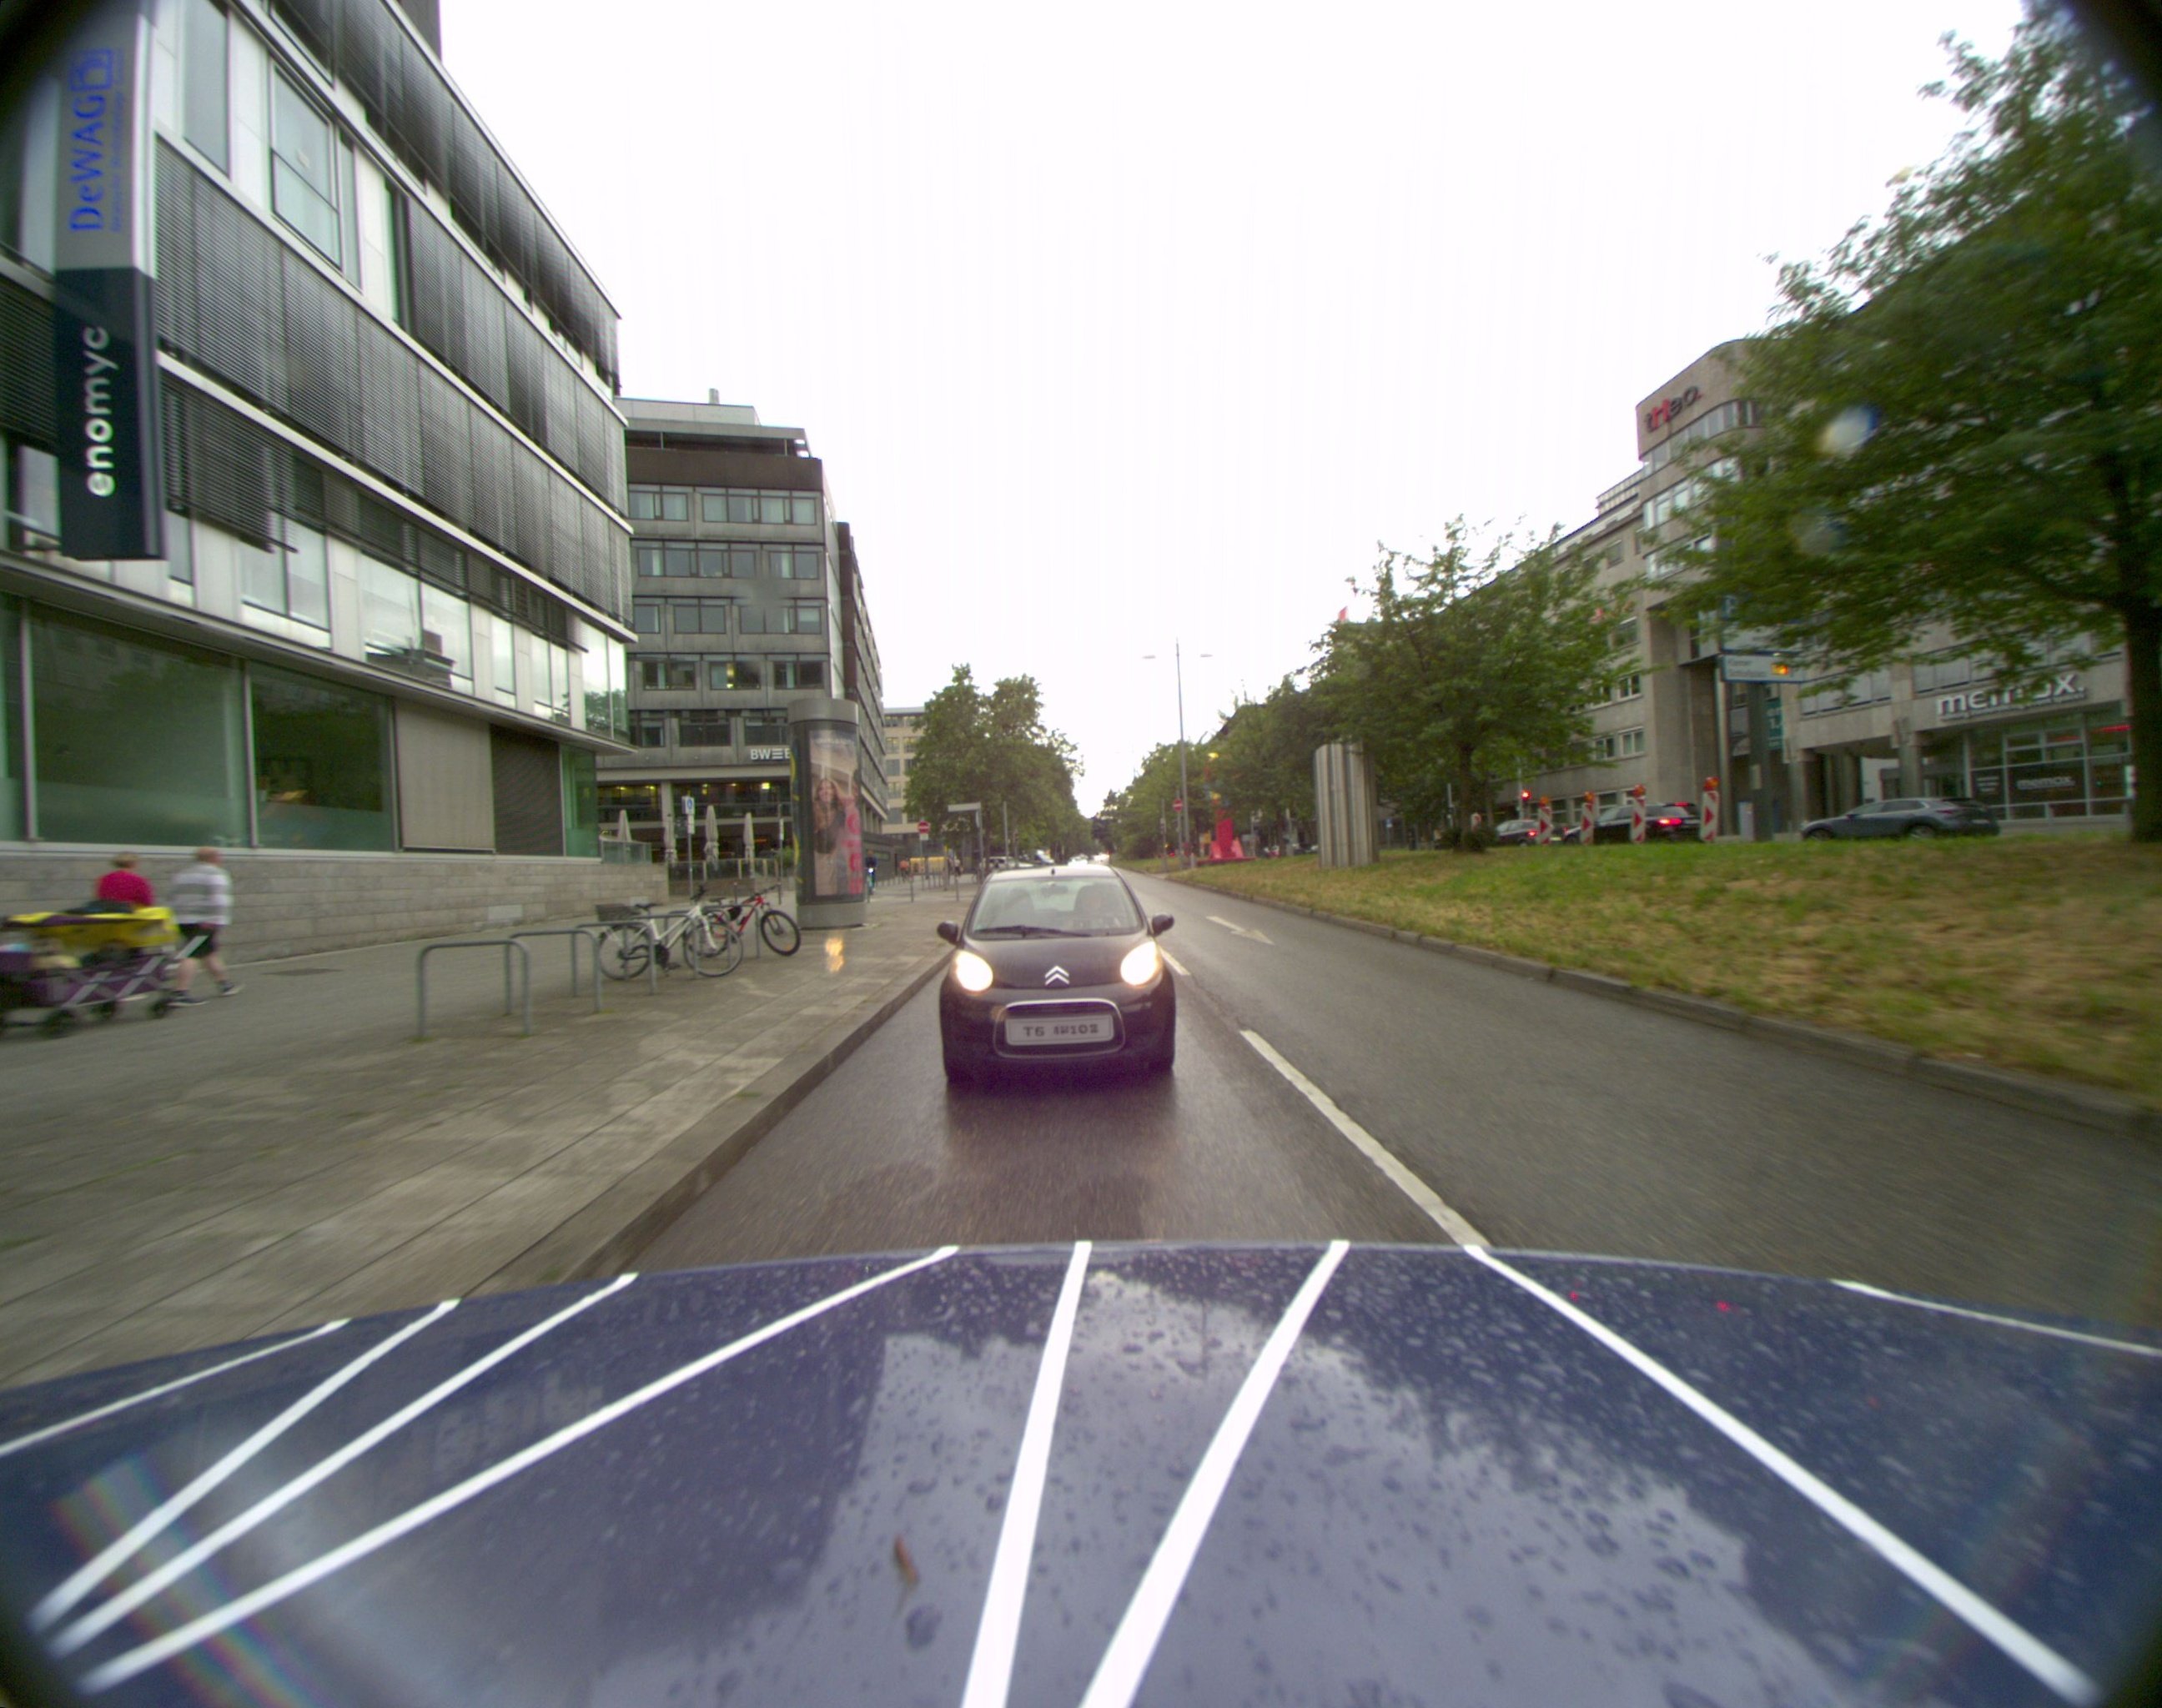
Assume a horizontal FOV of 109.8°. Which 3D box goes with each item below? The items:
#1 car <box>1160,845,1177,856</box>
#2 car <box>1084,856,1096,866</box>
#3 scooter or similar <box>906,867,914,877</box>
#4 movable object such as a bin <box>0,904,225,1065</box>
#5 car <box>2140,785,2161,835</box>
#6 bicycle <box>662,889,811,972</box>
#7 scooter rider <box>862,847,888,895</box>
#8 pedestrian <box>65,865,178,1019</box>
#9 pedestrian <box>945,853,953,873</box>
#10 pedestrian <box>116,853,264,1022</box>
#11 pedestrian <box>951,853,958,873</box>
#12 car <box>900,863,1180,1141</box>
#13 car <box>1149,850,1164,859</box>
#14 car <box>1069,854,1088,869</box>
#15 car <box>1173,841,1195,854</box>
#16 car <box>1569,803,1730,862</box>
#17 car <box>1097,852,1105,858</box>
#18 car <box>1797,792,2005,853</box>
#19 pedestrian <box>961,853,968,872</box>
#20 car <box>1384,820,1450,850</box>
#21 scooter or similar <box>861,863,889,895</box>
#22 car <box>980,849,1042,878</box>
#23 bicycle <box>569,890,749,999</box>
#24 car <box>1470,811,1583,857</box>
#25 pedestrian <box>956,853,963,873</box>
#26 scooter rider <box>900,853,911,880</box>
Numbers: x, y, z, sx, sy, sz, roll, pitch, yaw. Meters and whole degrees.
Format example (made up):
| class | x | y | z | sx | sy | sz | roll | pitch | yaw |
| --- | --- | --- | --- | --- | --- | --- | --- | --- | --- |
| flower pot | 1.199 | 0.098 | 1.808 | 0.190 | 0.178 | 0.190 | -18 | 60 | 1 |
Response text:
| class | x | y | z | sx | sy | sz | roll | pitch | yaw |
| --- | --- | --- | --- | --- | --- | --- | --- | --- | --- |
| car | 14.112 | -0.613 | 122.919 | 2.073 | 1.578 | 4.106 | -5 | 1 | -3 |
| car | 1.414 | 1.109 | 118.070 | 1.606 | 1.377 | 3.018 | -5 | 1 | -3 |
| scooter or similar | -13.233 | 1.386 | 58.961 | 0.408 | 0.768 | 1.276 | -2 | 1 | -5 |
| movable object such as a bin | -9.770 | 1.196 | 7.434 | 0.805 | 1.258 | 1.787 | -1 | 1 | -5 |
| car | 25.355 | -1.050 | 15.499 | 1.575 | 1.116 | 4.104 | -5 | 1 | -7 |
| bicycle | -5.100 | 1.120 | 11.328 | 1.876 | 1.103 | 0.669 | -2 | 1 | -2 |
| scooter rider | -8.938 | 0.721 | 32.971 | 0.780 | 2.009 | 0.924 | -2 | 1 | 1 |
| pedestrian | -11.009 | 0.982 | 8.735 | 0.485 | 1.689 | 0.579 | -1 | 1 | -5 |
| pedestrian | -11.495 | 0.790 | 66.269 | 0.552 | 1.692 | 0.547 | -2 | 2 | -2 |
| pedestrian | -10.127 | 0.913 | 8.672 | 0.724 | 1.820 | 0.746 | -1 | 1 | -5 |
| pedestrian | -11.024 | 0.770 | 66.318 | 0.452 | 1.692 | 0.547 | -2 | 2 | -2 |
| car | -0.283 | 0.907 | 6.396 | 1.595 | 1.501 | 3.708 | -3 | 1 | -1 |
| car | 13.901 | 0.078 | 140.563 | 2.073 | 1.578 | 4.106 | -5 | 1 | -3 |
| car | -0.328 | 0.834 | 91.517 | 2.073 | 1.578 | 4.106 | -5 | 1 | -3 |
| car | 13.824 | -0.911 | 102.183 | 2.073 | 1.578 | 4.106 | -5 | 1 | -3 |
| car | 17.970 | -0.657 | 24.297 | 1.880 | 1.571 | 4.106 | -5 | 1 | -3 |
| car | 5.184 | 0.216 | 196.306 | 1.799 | 1.501 | 4.498 | -3 | 1 | -2 |
| car | 24.715 | -0.872 | 23.136 | 1.575 | 1.571 | 4.104 | -5 | 1 | -7 |
| pedestrian | -10.164 | 0.734 | 66.468 | 0.452 | 1.692 | 0.497 | -2 | 2 | -2 |
| car | 19.915 | -1.097 | 45.199 | 1.880 | 1.571 | 4.106 | -5 | 1 | -3 |
| scooter or similar | -8.927 | 1.077 | 33.003 | 0.780 | 1.298 | 1.335 | -2 | 1 | 1 |
| car | -5.264 | 0.712 | 57.024 | 4.202 | 1.802 | 2.003 | -4 | 1 | 32 |
| bicycle | -5.195 | 1.088 | 9.459 | 1.797 | 1.200 | 0.669 | -2 | 1 | -9 |
| car | 17.583 | -0.760 | 30.228 | 1.880 | 1.571 | 4.106 | -5 | 1 | -3 |
| pedestrian | -10.596 | 0.757 | 66.145 | 0.452 | 1.692 | 0.497 | -2 | 2 | -2 |
| scooter rider | -13.638 | 0.951 | 58.909 | 0.627 | 2.013 | 0.854 | -2 | 1 | -5 |
